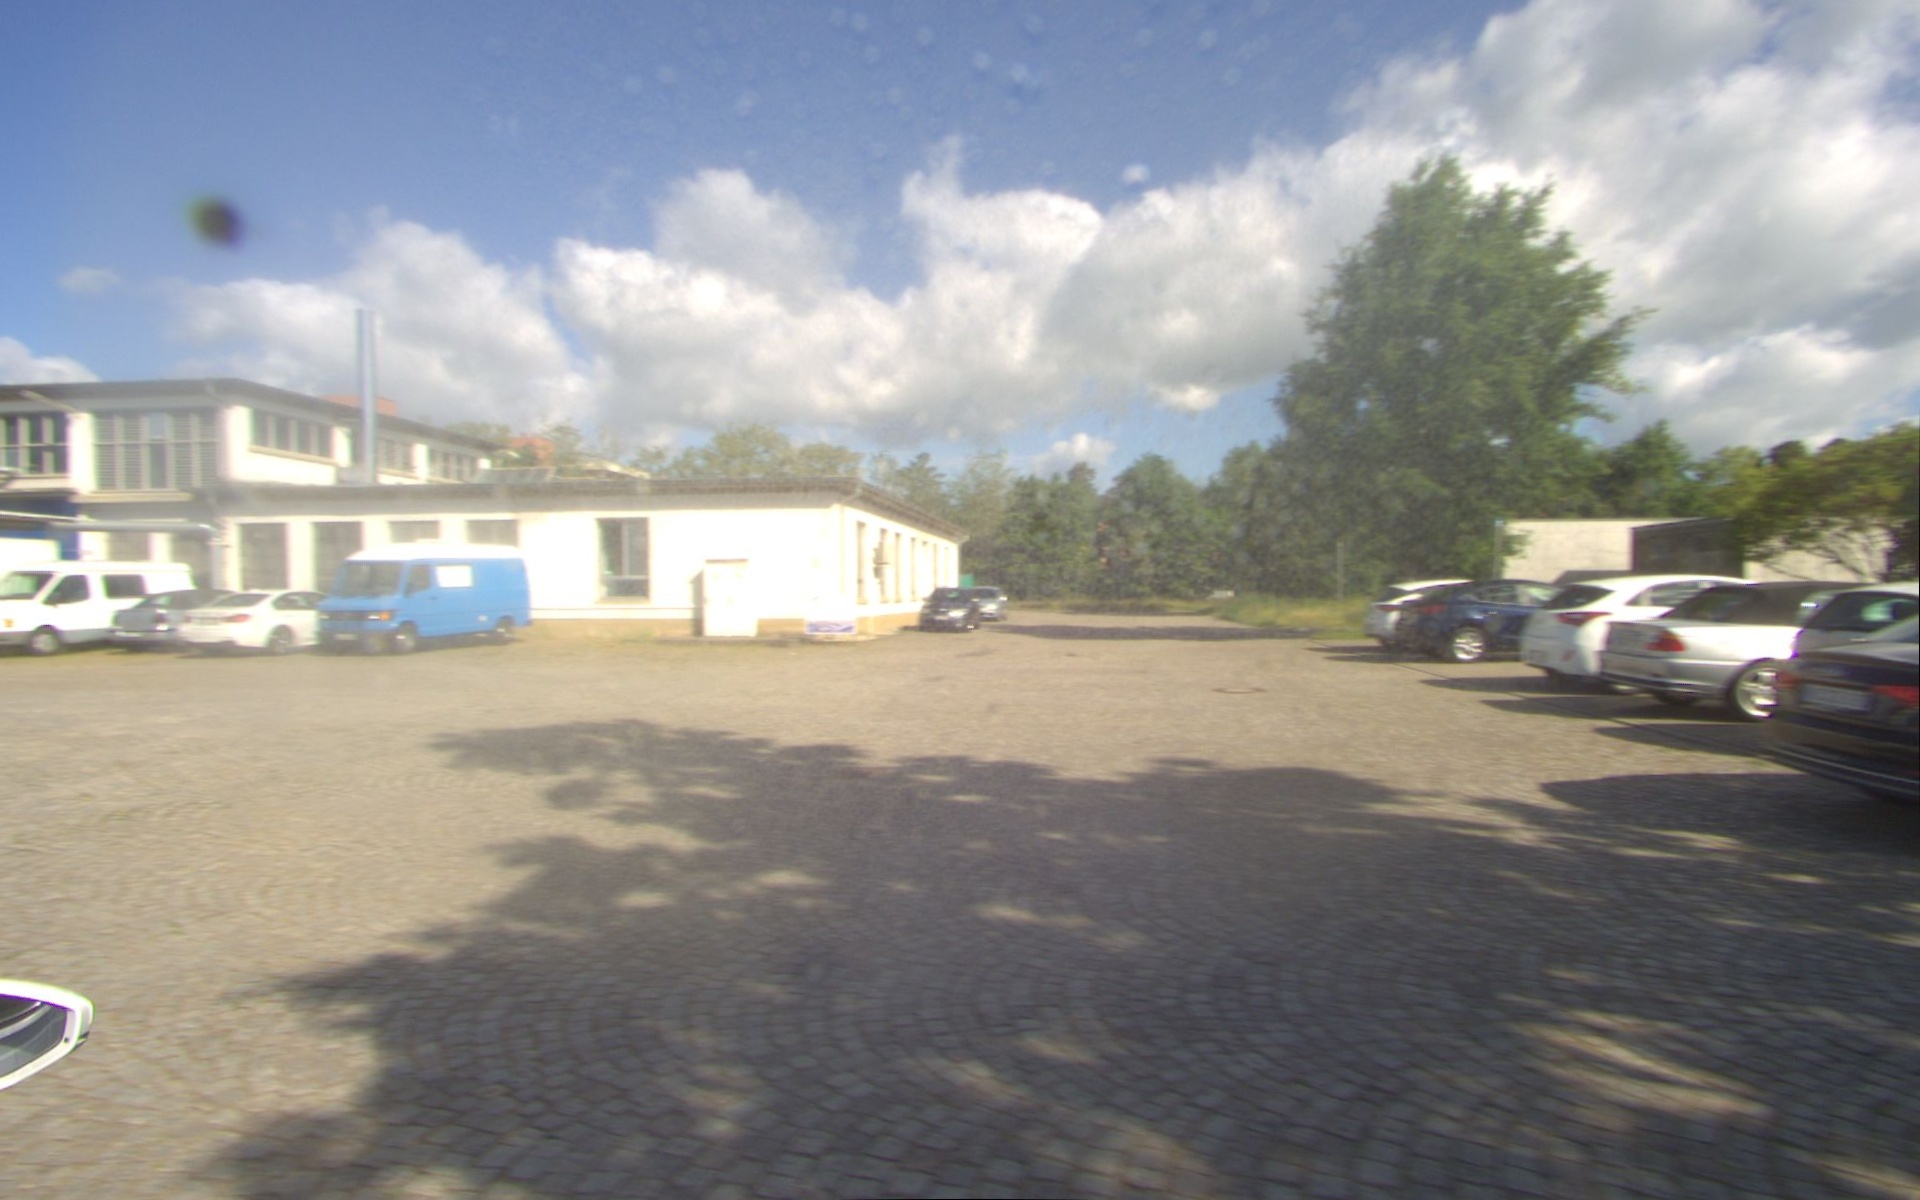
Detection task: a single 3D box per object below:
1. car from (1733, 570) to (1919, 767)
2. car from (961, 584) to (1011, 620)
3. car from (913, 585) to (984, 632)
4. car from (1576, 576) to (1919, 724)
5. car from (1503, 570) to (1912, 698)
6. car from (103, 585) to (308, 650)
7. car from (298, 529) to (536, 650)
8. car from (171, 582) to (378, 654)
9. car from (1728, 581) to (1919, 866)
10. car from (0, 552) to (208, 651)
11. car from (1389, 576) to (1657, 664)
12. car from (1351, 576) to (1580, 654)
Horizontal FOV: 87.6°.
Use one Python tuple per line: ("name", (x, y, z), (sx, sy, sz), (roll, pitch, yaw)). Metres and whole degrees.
("car", (8.944, 0.470, 7.959), (4.074, 1.479, 1.689), (-1, 1, 13))
("car", (1.177, 0.069, 43.531), (1.660, 1.455, 3.984), (1, 1, 9))
("car", (-0.321, 0.240, 33.622), (1.735, 1.455, 3.989), (1, 1, 9))
("car", (8.919, 0.481, 10.450), (3.850, 1.390, 1.727), (-1, 1, 9))
("car", (9.443, 0.421, 12.960), (3.850, 1.466, 1.754), (-1, 1, 9))
("car", (-17.969, 0.355, 24.082), (1.660, 1.417, 3.828), (1, 1, 10))
("car", (-12.484, -0.243, 23.558), (2.050, 2.516, 5.234), (0, 1, 11))
("car", (-15.377, 0.351, 22.732), (1.705, 1.425, 3.734), (0, 2, 10))
("car", (7.278, 0.575, 5.451), (4.643, 1.442, 1.756), (-1, 1, 7))
("car", (-20.927, -0.027, 23.765), (1.972, 2.110, 4.799), (0, 2, 11))
("car", (10.030, 0.359, 18.115), (3.850, 1.436, 1.691), (-1, 1, 9))
("car", (10.364, 0.304, 20.785), (3.850, 1.454, 1.794), (-1, 1, 9))
